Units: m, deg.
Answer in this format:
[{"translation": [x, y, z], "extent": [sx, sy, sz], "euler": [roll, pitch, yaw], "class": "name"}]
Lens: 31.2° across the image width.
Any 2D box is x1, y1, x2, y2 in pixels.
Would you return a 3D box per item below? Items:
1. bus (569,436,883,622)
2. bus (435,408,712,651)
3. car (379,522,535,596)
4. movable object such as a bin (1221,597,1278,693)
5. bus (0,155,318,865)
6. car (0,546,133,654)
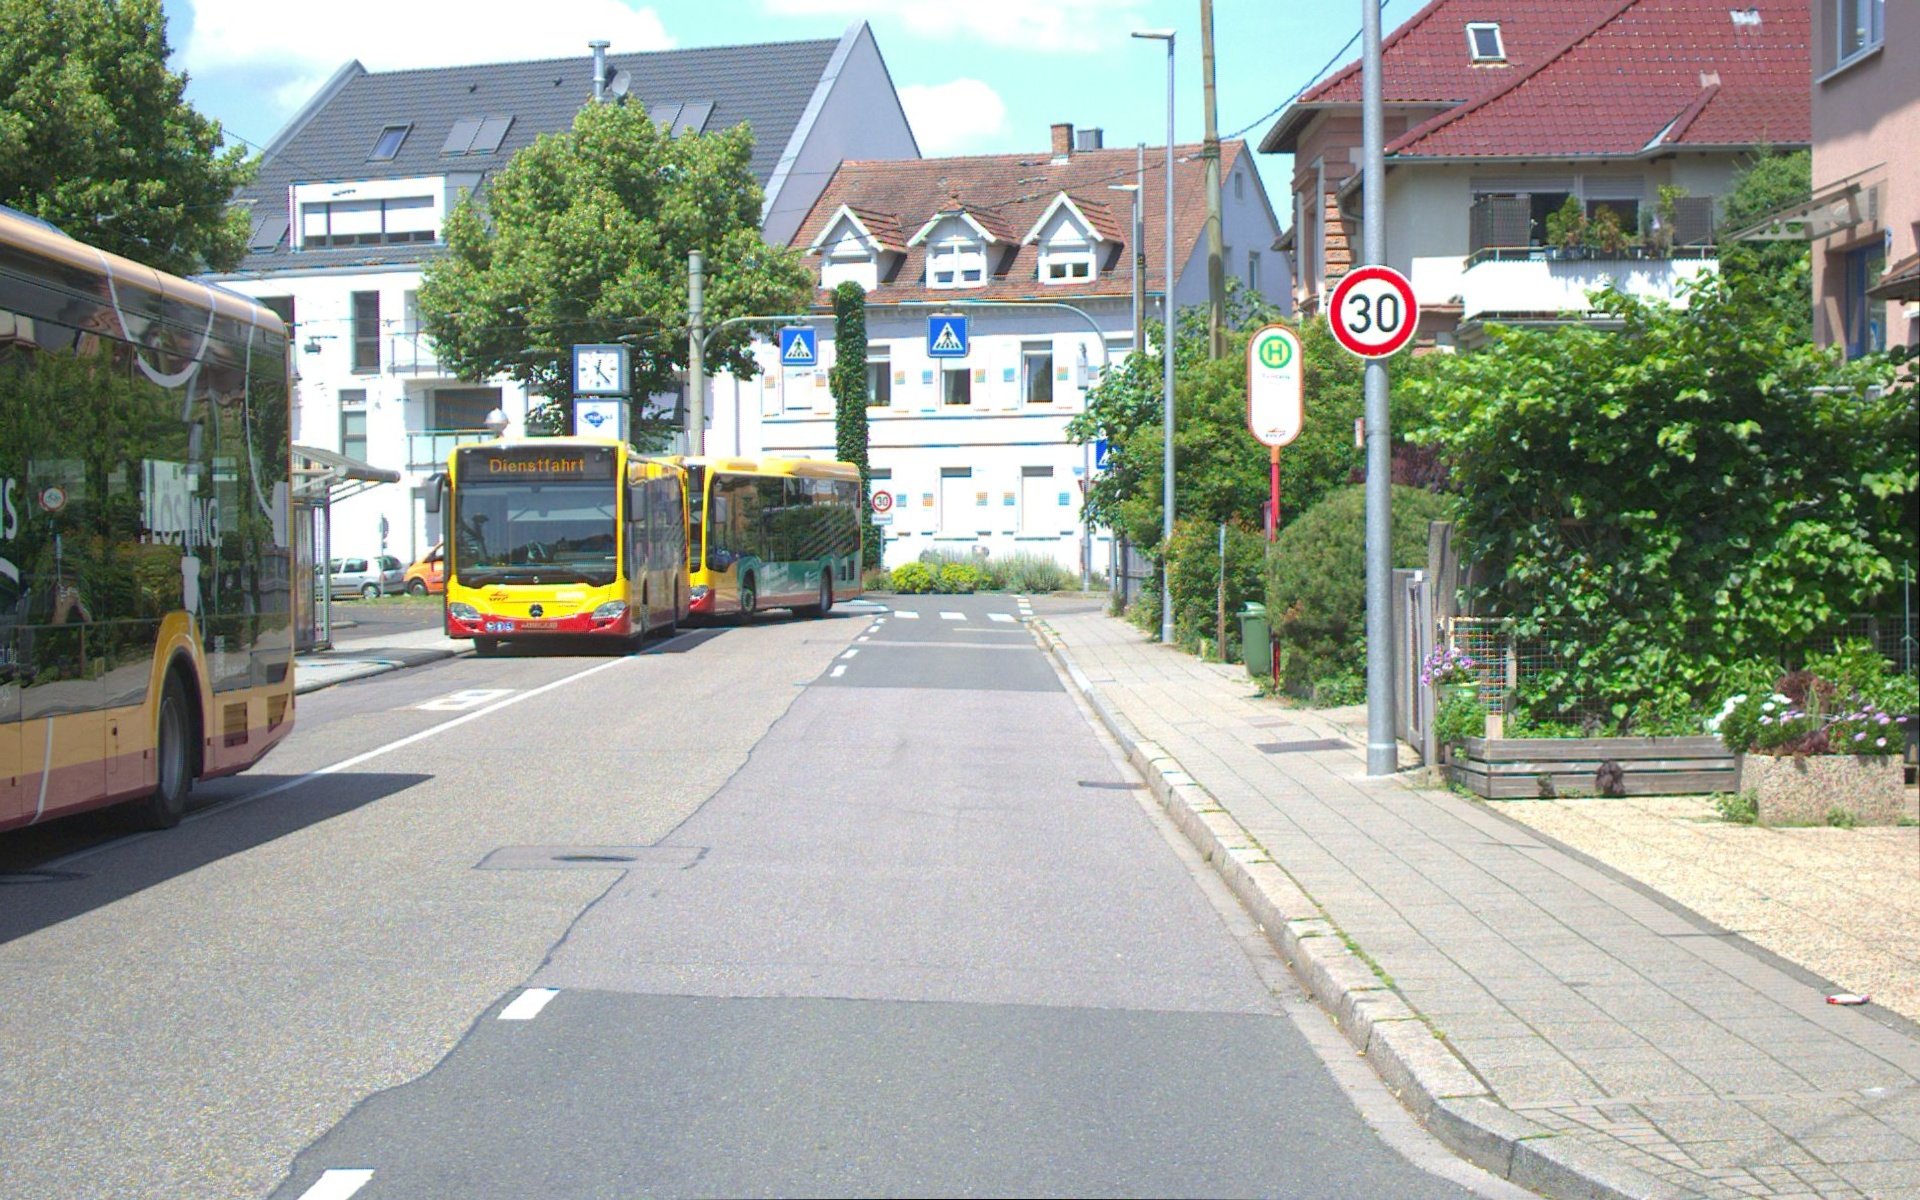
[{"translation": [-4.269, -1.407, 66.514], "extent": [2.781, 3.197, 12.301], "euler": [2, 2, 12], "class": "bus"}, {"translation": [-5.716, -1.025, 53.044], "extent": [2.907, 3.237, 12.119], "euler": [2, 1, 0], "class": "bus"}, {"translation": [-14.479, -1.186, 98.991], "extent": [3.993, 2.007, 1.997], "euler": [1, 0, 29], "class": "car"}, {"translation": [2.843, 0.439, 33.779], "extent": [0.406, 0.904, 0.729], "euler": [-4, 0, -3], "class": "movable object such as a bin"}, {"translation": [-5.828, -0.431, 16.824], "extent": [2.898, 3.236, 12.196], "euler": [2, 0, 1], "class": "bus"}, {"translation": [-12.767, -0.018, 45.666], "extent": [3.277, 1.368, 1.469], "euler": [2, 0, -20], "class": "car"}]
